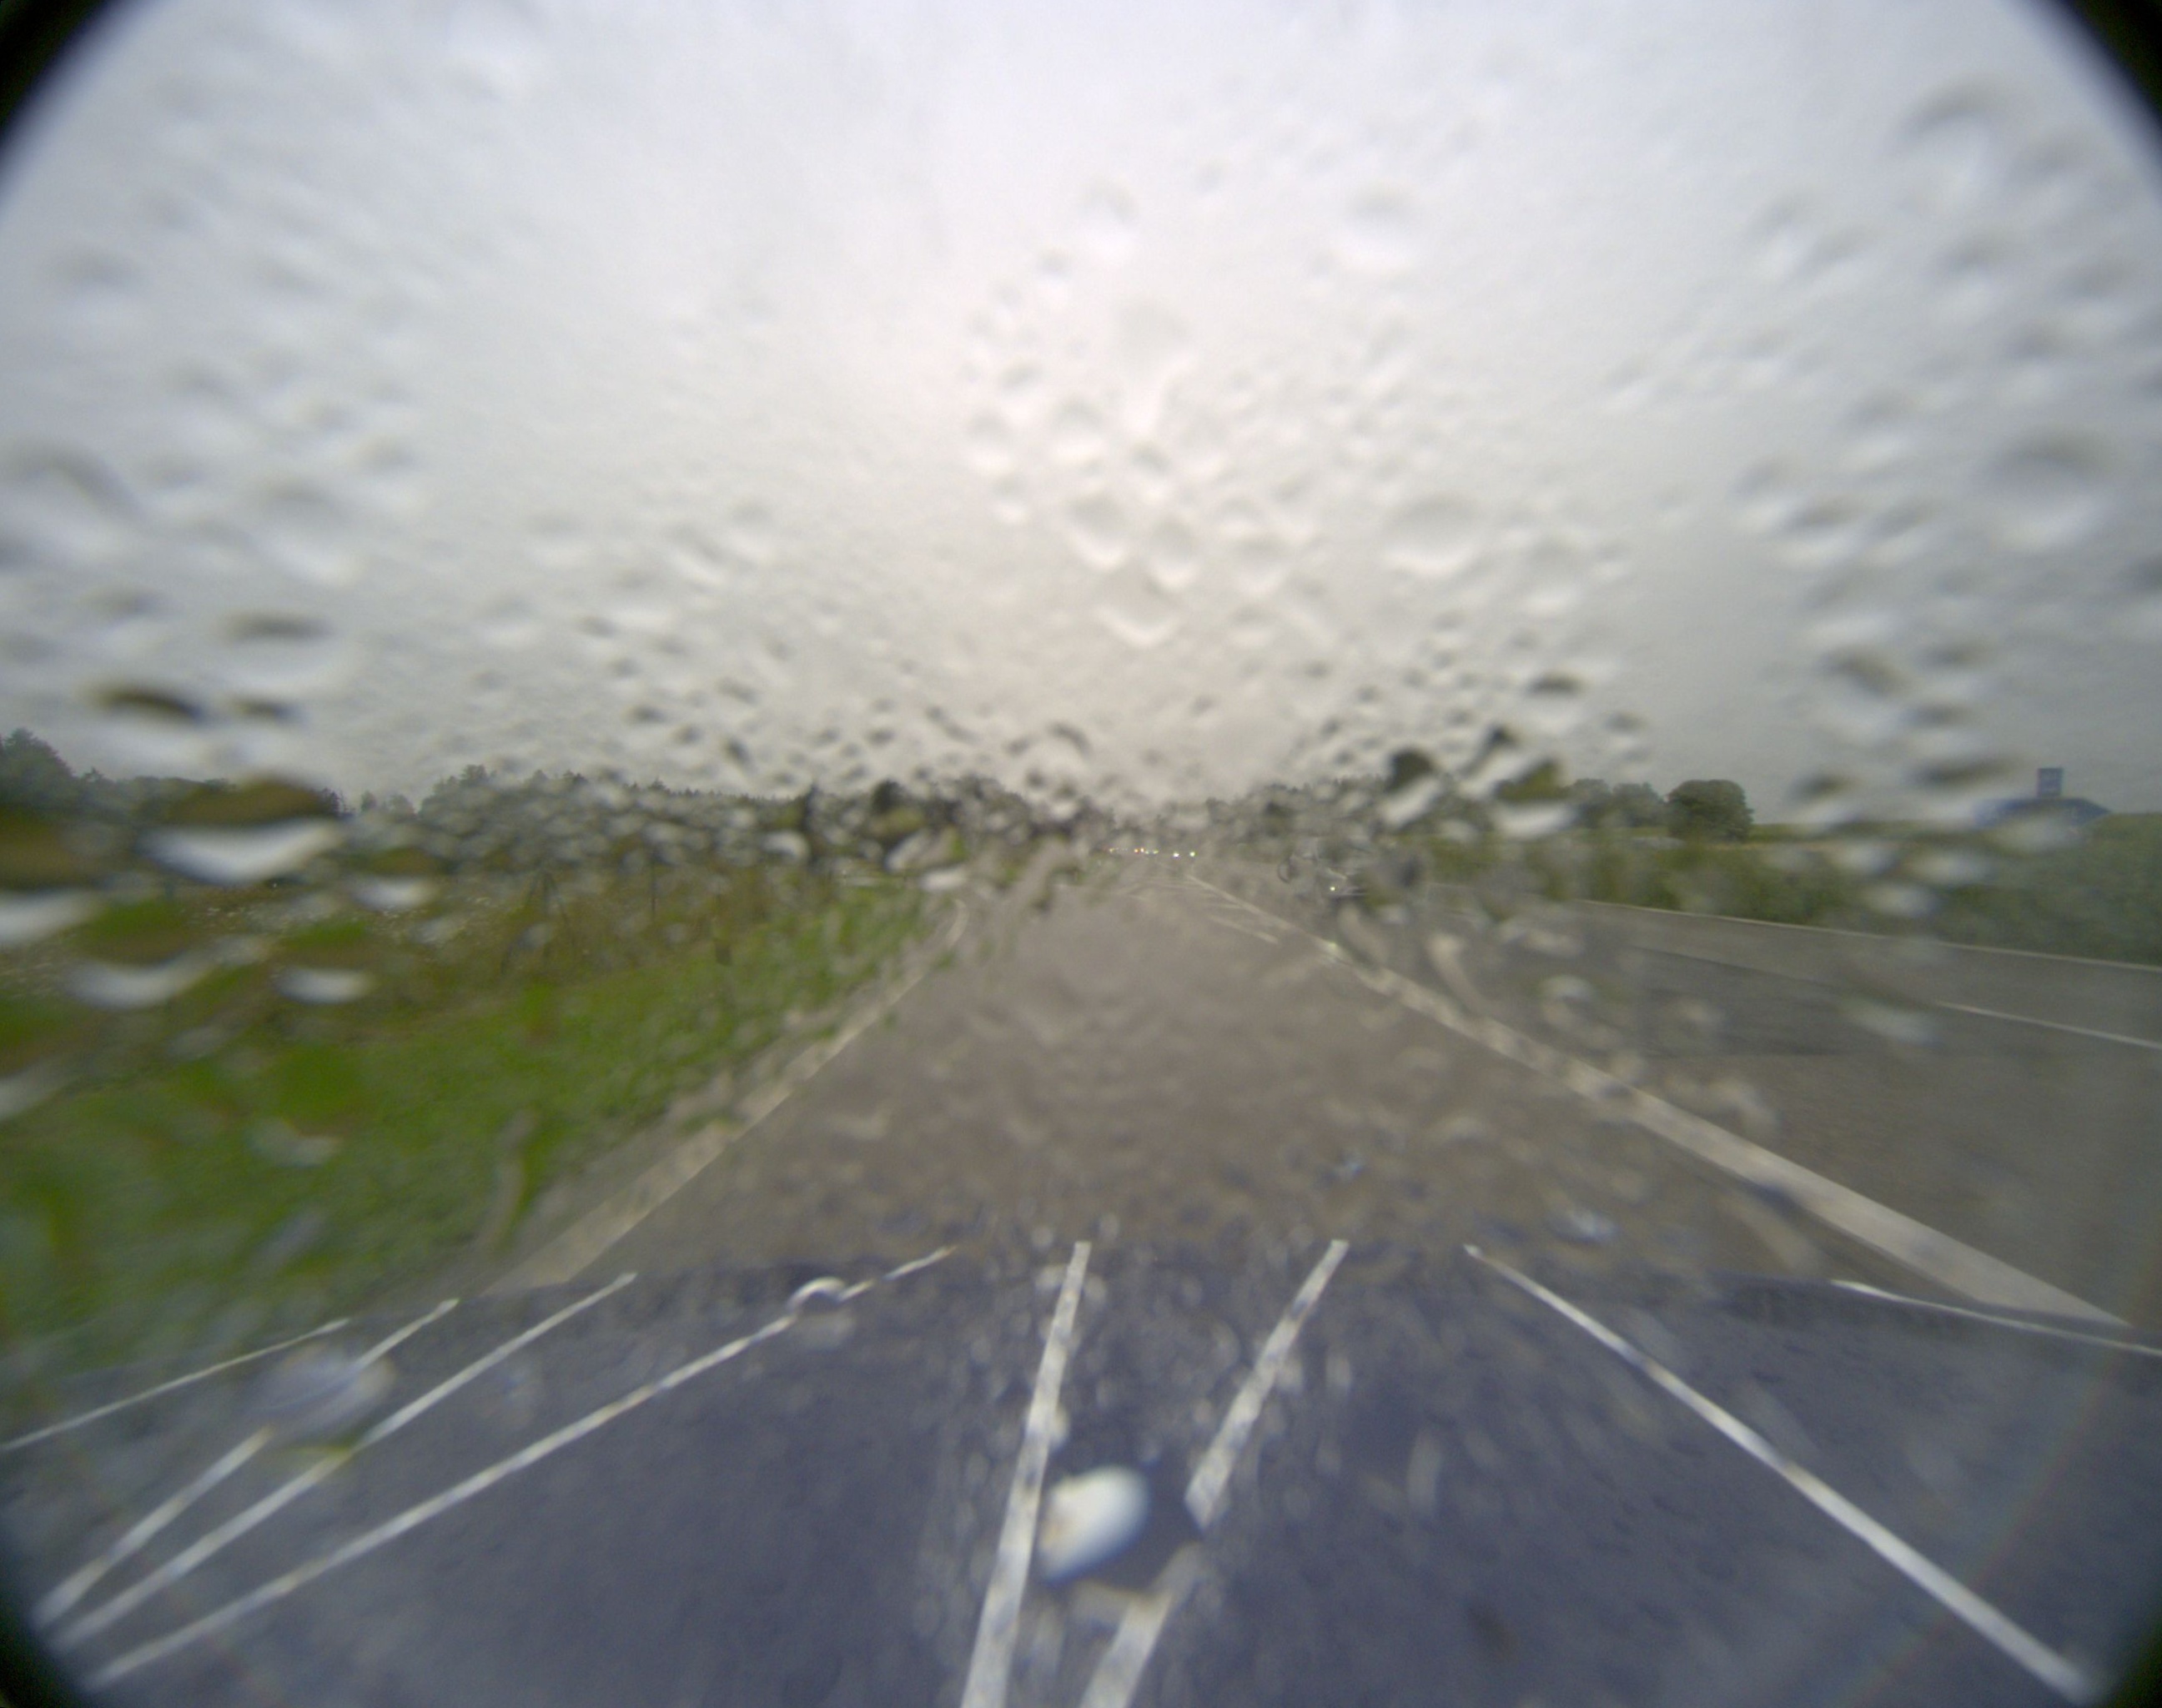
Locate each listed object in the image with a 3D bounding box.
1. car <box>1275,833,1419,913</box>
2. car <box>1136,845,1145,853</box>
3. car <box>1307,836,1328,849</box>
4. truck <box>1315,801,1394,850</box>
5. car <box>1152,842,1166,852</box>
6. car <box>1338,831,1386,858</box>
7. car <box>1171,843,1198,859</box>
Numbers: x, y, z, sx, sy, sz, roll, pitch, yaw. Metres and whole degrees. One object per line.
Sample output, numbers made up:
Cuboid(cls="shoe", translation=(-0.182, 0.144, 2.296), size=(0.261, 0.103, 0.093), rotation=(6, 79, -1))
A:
Cuboid(cls="car", translation=(6.234, 0.368, 18.470), size=(1.866, 1.625, 5.101), rotation=(-2, 1, 2))
Cuboid(cls="car", translation=(14.978, -1.280, 191.449), size=(1.997, 2.001, 4.643), rotation=(1, -1, 7))
Cuboid(cls="car", translation=(33.655, -1.587, 108.378), size=(1.734, 1.726, 4.000), rotation=(-3, 0, 1))
Cuboid(cls="truck", translation=(25.338, -2.494, 71.347), size=(3.201, 3.944, 13.815), rotation=(-3, 1, 4))
Cuboid(cls="car", translation=(12.936, -1.166, 125.976), size=(2.150, 1.627, 4.596), rotation=(-1, 1, 4))
Cuboid(cls="car", translation=(20.690, -0.721, 56.140), size=(2.109, 1.865, 4.532), rotation=(-3, 1, 4))
Cuboid(cls="car", translation=(9.300, -0.298, 68.597), size=(2.098, 1.445, 4.596), rotation=(-1, 1, 4))
